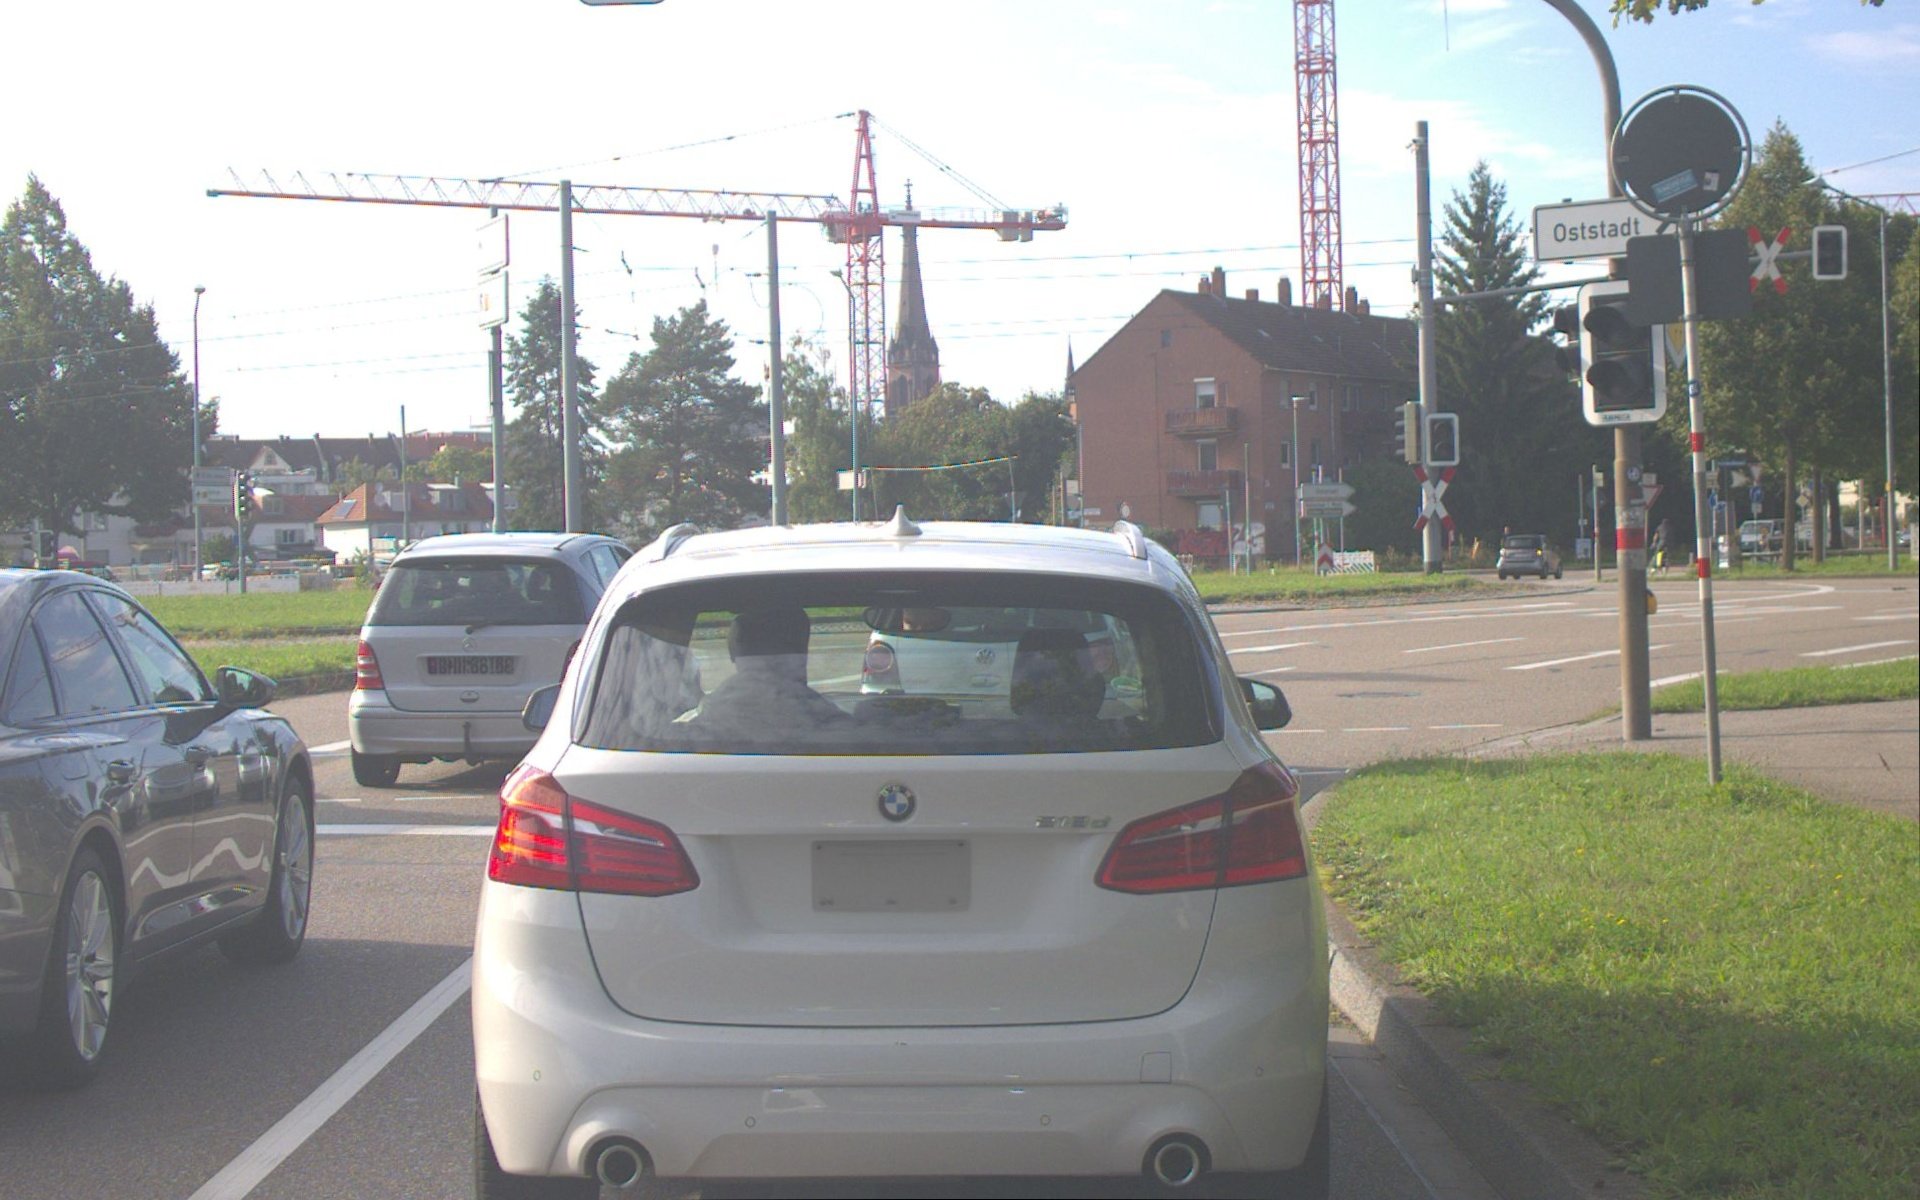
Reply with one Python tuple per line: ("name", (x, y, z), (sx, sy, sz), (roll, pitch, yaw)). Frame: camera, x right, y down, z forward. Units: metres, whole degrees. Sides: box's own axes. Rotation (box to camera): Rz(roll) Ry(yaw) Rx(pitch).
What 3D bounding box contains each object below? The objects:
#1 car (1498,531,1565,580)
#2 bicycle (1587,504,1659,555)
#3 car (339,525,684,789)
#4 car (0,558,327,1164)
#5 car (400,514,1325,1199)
("car", (19.726, -1.551, 118.555), (1.571, 1.568, 3.195), (2, 3, 22))
("bicycle", (20.599, -2.180, 106.855), (0.893, 1.525, 2.290), (1, 0, -30))
("car", (-2.817, 0.304, 22.347), (1.729, 1.553, 4.058), (0, 1, 0))
("car", (-3.307, 0.616, 10.680), (1.890, 1.478, 4.613), (0, 1, -1))
("car", (-0.210, 0.581, 8.467), (1.729, 1.553, 4.058), (0, 1, -1))
